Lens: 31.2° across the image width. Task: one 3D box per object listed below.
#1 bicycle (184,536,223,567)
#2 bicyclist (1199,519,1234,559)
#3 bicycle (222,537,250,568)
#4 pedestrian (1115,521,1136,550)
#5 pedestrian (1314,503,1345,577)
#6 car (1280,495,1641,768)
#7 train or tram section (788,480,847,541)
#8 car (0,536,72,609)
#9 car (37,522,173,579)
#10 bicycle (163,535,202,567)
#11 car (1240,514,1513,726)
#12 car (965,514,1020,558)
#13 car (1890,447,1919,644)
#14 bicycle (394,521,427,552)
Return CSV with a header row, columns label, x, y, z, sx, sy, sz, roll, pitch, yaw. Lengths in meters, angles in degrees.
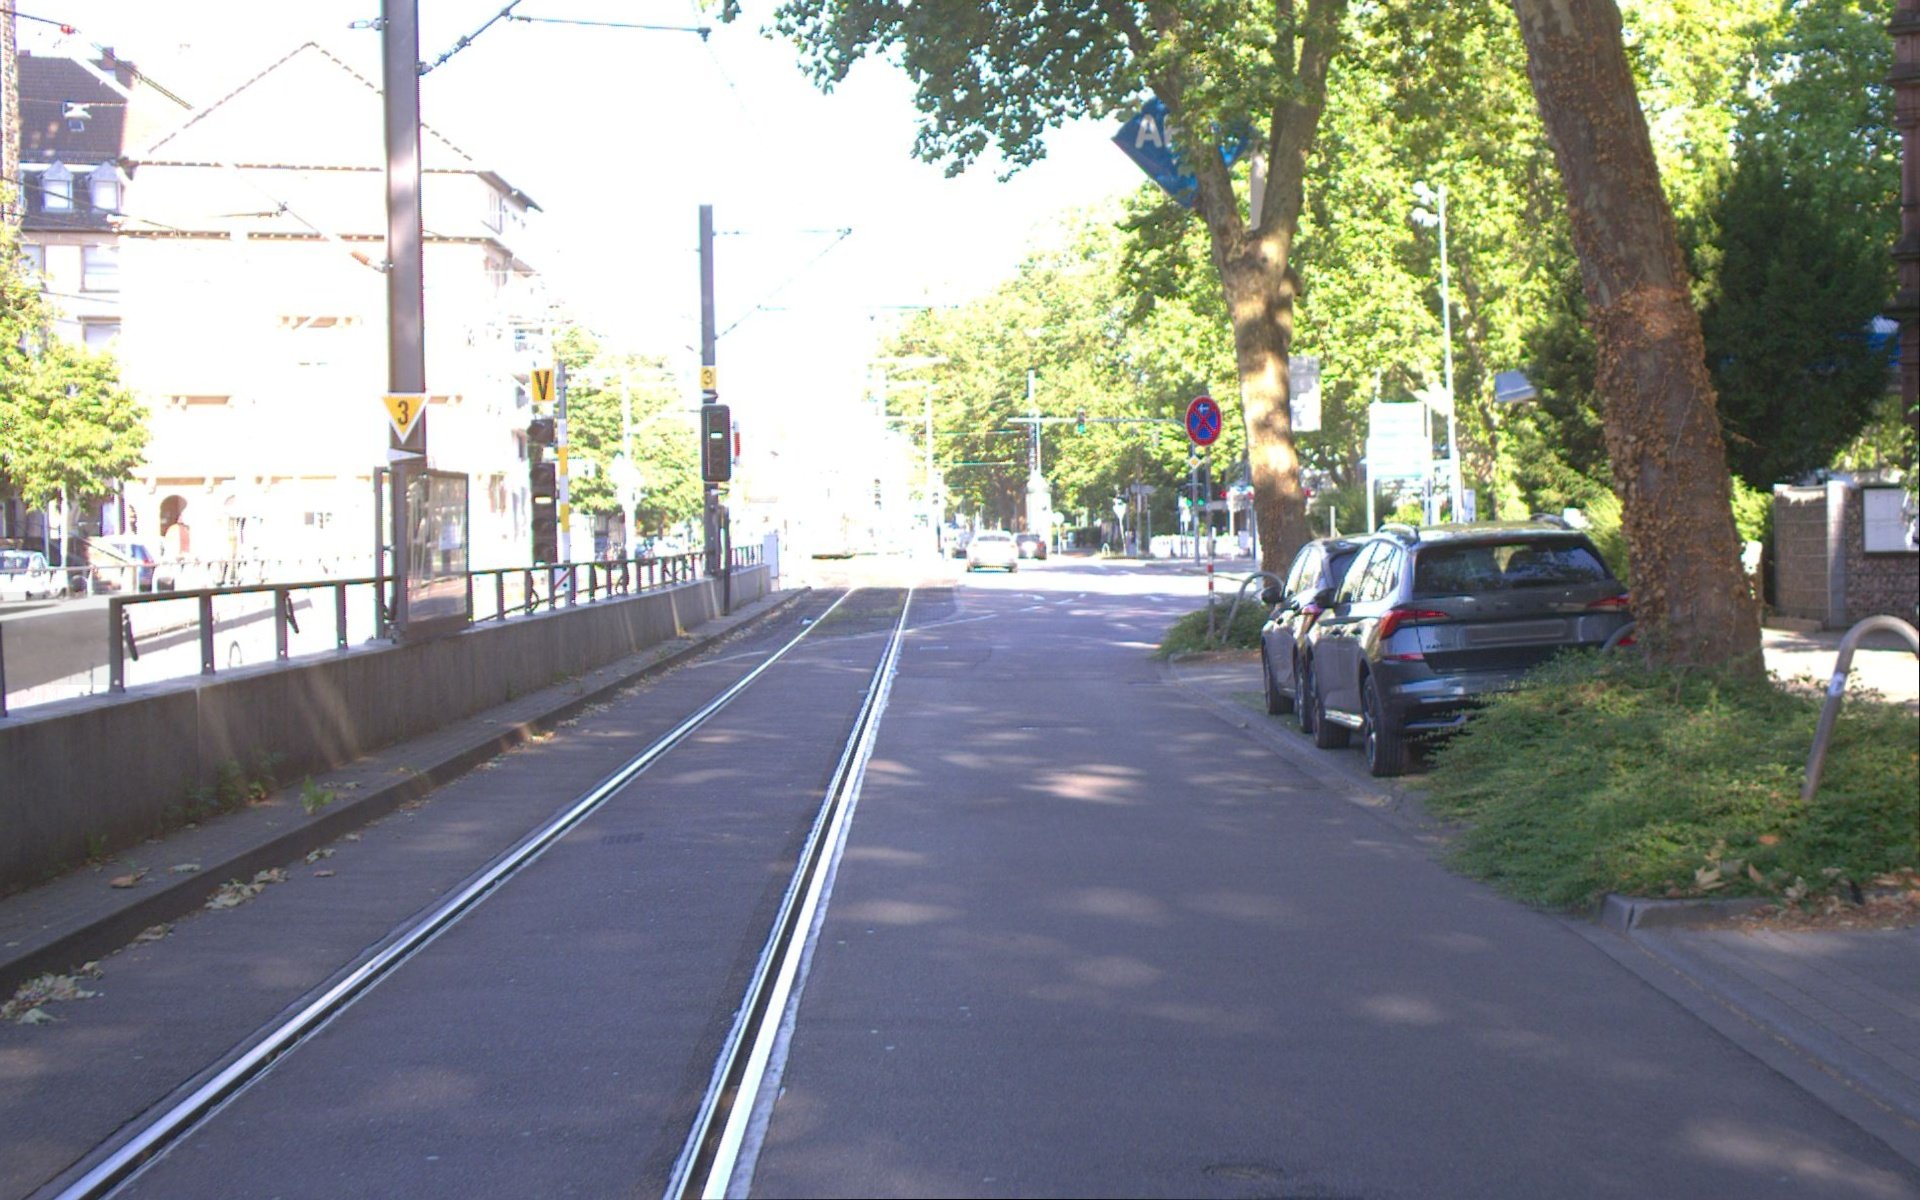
label,x,y,z,sx,sy,sz,roll,pitch,yaw
bicycle,-32.540,-2.082,147.820,0.821,1.278,2.565,1,2,-31
bicyclist,10.913,-2.594,146.317,1.198,1.691,0.904,1,1,-15
bicycle,-31.210,-2.051,148.153,0.821,1.278,2.566,1,1,-19
pedestrian,8.177,-3.170,169.626,0.660,1.383,0.830,2,1,32
pedestrian,9.063,-1.479,84.328,0.603,1.770,0.690,-4,1,4
car,3.199,0.143,22.748,1.616,1.581,4.417,-2,1,-1
train or tram section,-8.377,-5.291,203.808,2.952,3.398,10.791,2,1,0
car,-21.897,-0.663,78.933,1.716,1.550,4.510,2,1,1
car,-28.530,-1.655,114.778,3.987,1.750,1.895,2,1,2
bicycle,-33.325,-2.094,147.357,0.821,1.278,2.565,1,2,-31
car,3.193,0.104,27.007,1.551,1.494,4.050,-2,1,-1
car,1.125,-2.251,120.460,1.745,1.457,3.645,2,2,-1
car,12.042,-0.651,34.947,4.572,2.007,1.914,-2,1,0
bicycle,-21.005,-2.425,131.456,0.631,1.140,2.279,-2,1,6
